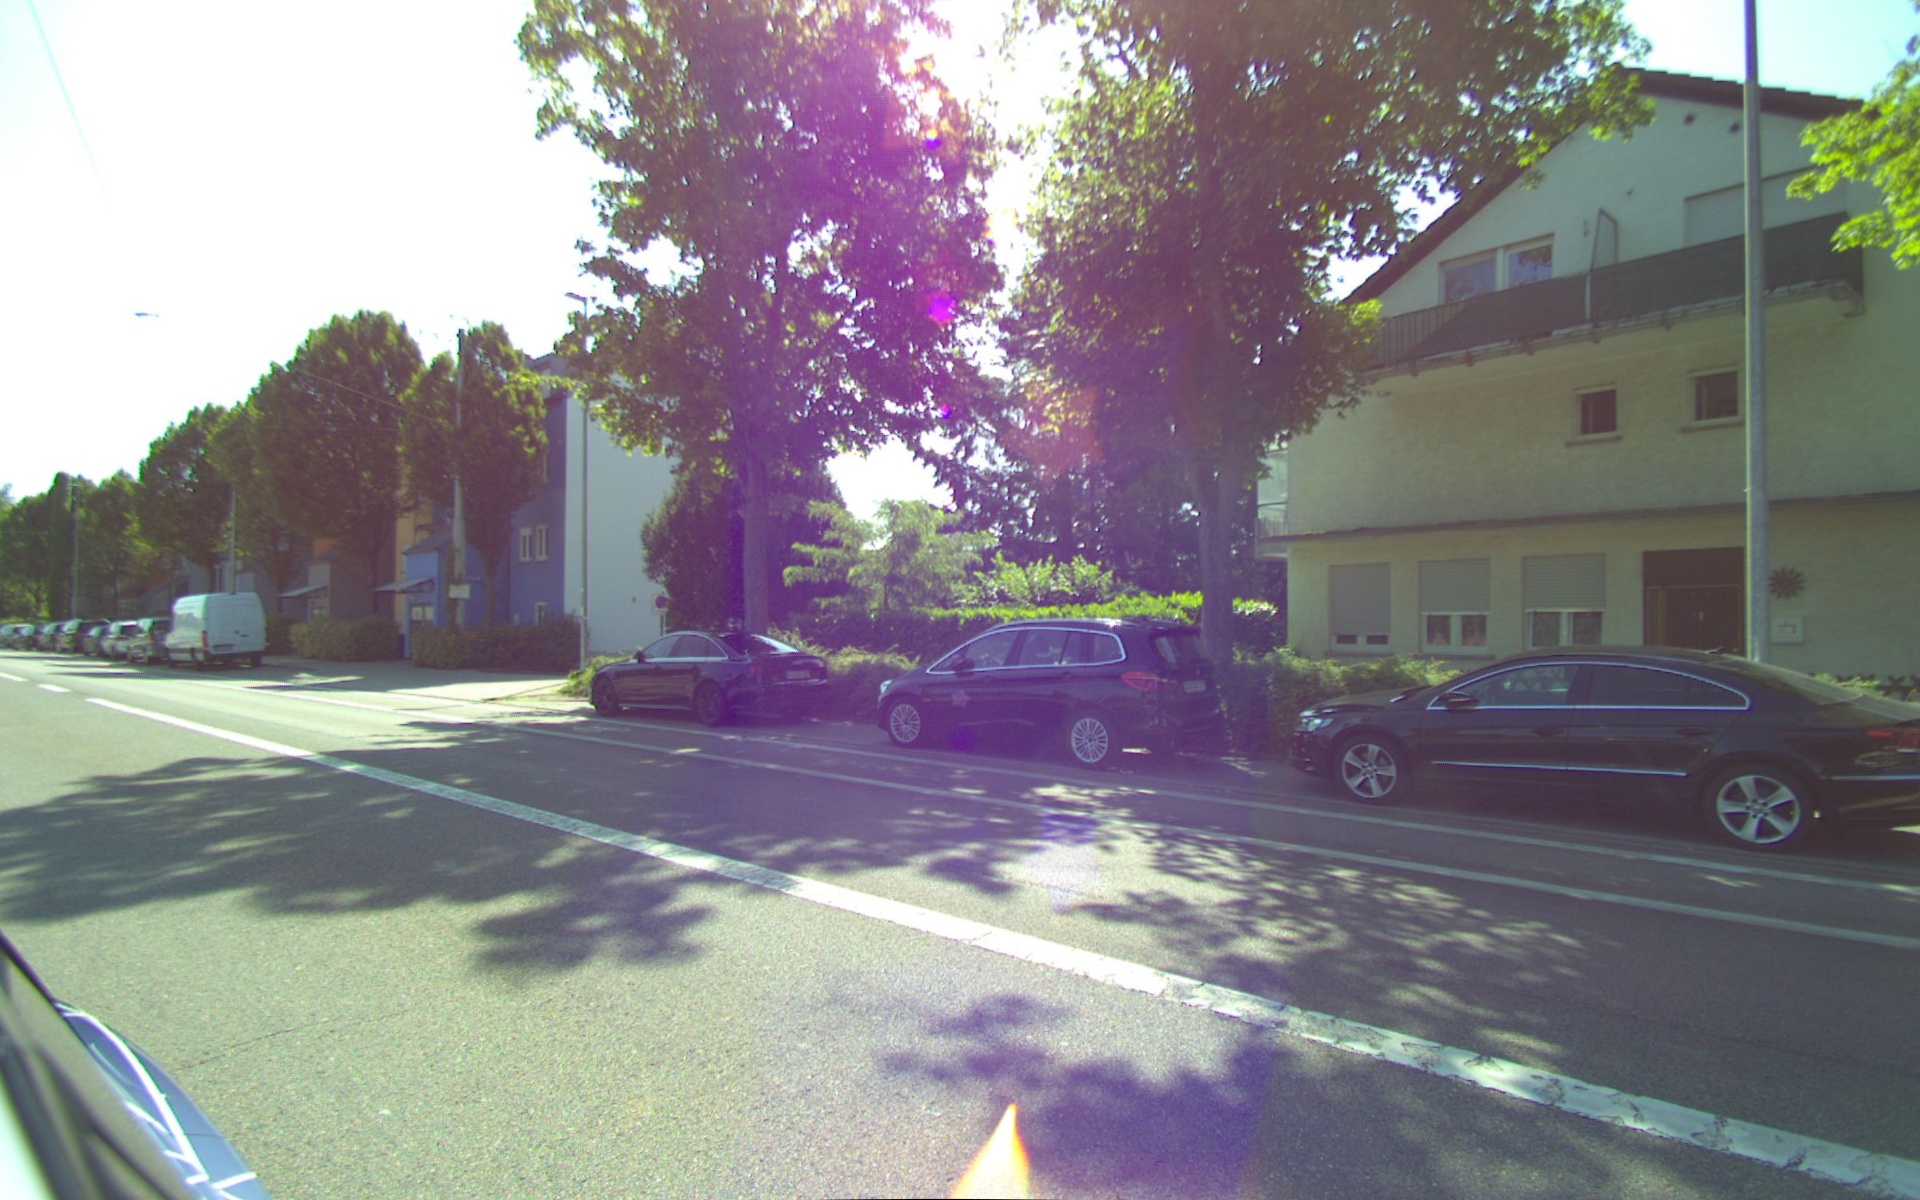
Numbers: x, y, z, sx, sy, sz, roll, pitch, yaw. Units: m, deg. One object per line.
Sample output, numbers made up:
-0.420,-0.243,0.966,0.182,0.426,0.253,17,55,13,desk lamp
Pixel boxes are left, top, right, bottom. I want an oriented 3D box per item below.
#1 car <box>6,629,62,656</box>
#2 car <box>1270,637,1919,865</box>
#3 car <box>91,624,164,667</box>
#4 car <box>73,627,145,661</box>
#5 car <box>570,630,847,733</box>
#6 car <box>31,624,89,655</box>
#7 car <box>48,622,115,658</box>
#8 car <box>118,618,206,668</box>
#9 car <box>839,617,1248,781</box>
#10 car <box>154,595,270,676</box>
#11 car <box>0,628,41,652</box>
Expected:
-54.928,2.478,60.023,4.206,1.481,1.662,-1,-1,37,car
5.211,1.038,8.400,4.779,1.390,1.673,-2,-1,41,car
-37.983,2.024,46.144,4.539,1.715,1.829,-1,2,42,car
-41.790,2.115,49.668,4.069,1.466,1.849,-1,1,37,car
-4.266,1.230,16.734,4.903,1.477,1.822,-1,-2,38,car
-49.897,2.133,56.076,4.159,1.619,1.661,-1,-1,37,car
-45.949,2.055,52.909,4.343,1.741,1.812,-1,0,38,car
-33.725,1.762,42.705,4.964,1.879,1.973,-1,2,41,car
0.816,1.039,12.306,4.891,1.618,1.743,-1,-2,41,car
-27.677,1.273,37.318,7.084,2.697,1.973,-2,1,42,car
-60.070,2.520,64.166,4.826,1.457,1.663,-1,-1,35,car
